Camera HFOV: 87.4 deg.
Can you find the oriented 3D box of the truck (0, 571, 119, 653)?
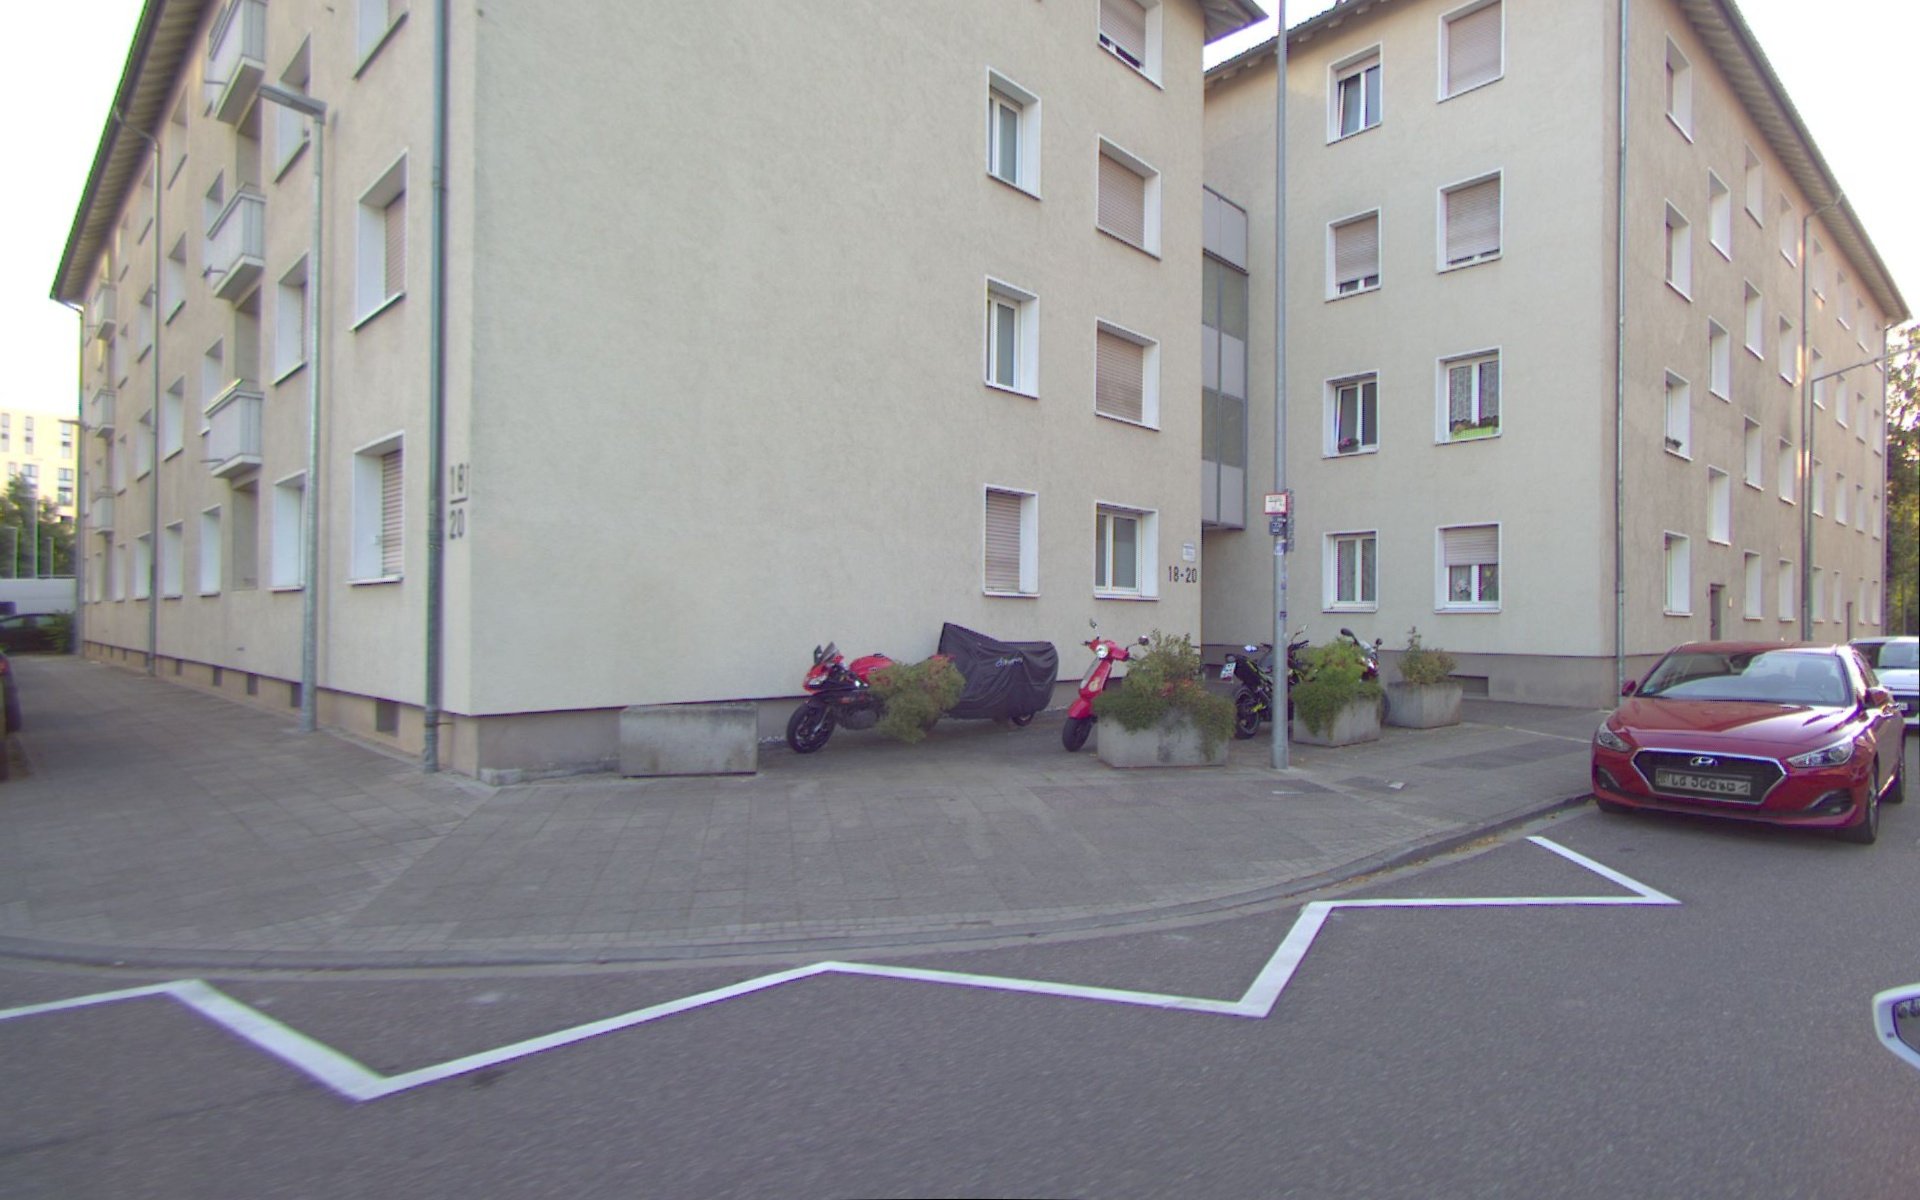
[{"bbox_3d":[-34.351,0.487,36.128,2.306,2.759,5.964,-1,3,43],"label":"truck"}]

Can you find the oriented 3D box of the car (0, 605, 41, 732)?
[{"bbox_3d":[-13.481,0.896,12.922,3.959,1.521,1.871,-1,3,40],"label":"car"}]

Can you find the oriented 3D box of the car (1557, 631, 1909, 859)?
[{"bbox_3d":[6.874,1.031,8.775,4.049,1.493,1.828,2,-2,-43],"label":"car"}]

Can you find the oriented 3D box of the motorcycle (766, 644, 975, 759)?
[{"bbox_3d":[-0.926,1.019,10.454,2.050,1.093,0.722,1,-1,-21],"label":"motorcycle"}]

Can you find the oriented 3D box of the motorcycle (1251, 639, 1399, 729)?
[{"bbox_3d":[5.091,1.133,14.152,0.553,1.120,2.114,1,-1,-29],"label":"motorcycle"}]

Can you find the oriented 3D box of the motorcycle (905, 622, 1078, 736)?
[{"bbox_3d":[0.408,0.924,12.284,2.057,1.281,0.719,1,-1,-31],"label":"motorcycle"}]

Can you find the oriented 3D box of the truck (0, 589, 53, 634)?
[{"bbox_3d":[-57.959,0.789,59.565,2.306,2.532,5.964,-1,3,43],"label":"truck"}]

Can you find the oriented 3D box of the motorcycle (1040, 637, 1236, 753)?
[{"bbox_3d":[1.923,0.997,10.893,2.001,1.176,0.688,1,-1,-17],"label":"motorcycle"}]

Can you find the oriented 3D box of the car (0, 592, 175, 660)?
[{"bbox_3d":[-30.057,0.829,34.117,2.306,1.939,4.971,-1,3,44],"label":"car"}]

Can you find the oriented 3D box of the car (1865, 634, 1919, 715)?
[{"bbox_3d":[18.920,1.398,19.503,4.003,1.453,1.644,2,-3,-43],"label":"car"}]

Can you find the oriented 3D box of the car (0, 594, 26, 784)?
[{"bbox_3d":[-10.278,0.837,9.484,3.965,1.640,1.869,-1,3,44],"label":"car"}]

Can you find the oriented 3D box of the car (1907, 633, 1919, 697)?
[{"bbox_3d":[23.670,1.511,23.729,3.769,1.453,1.637,2,-3,-43],"label":"car"}]

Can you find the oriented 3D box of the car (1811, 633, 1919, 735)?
[{"bbox_3d":[15.141,1.290,16.307,3.480,1.492,1.601,2,-3,-43],"label":"car"}]

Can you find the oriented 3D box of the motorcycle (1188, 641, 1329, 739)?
[{"bbox_3d":[3.706,1.062,12.378,2.018,1.093,0.676,1,-1,-41],"label":"motorcycle"}]
